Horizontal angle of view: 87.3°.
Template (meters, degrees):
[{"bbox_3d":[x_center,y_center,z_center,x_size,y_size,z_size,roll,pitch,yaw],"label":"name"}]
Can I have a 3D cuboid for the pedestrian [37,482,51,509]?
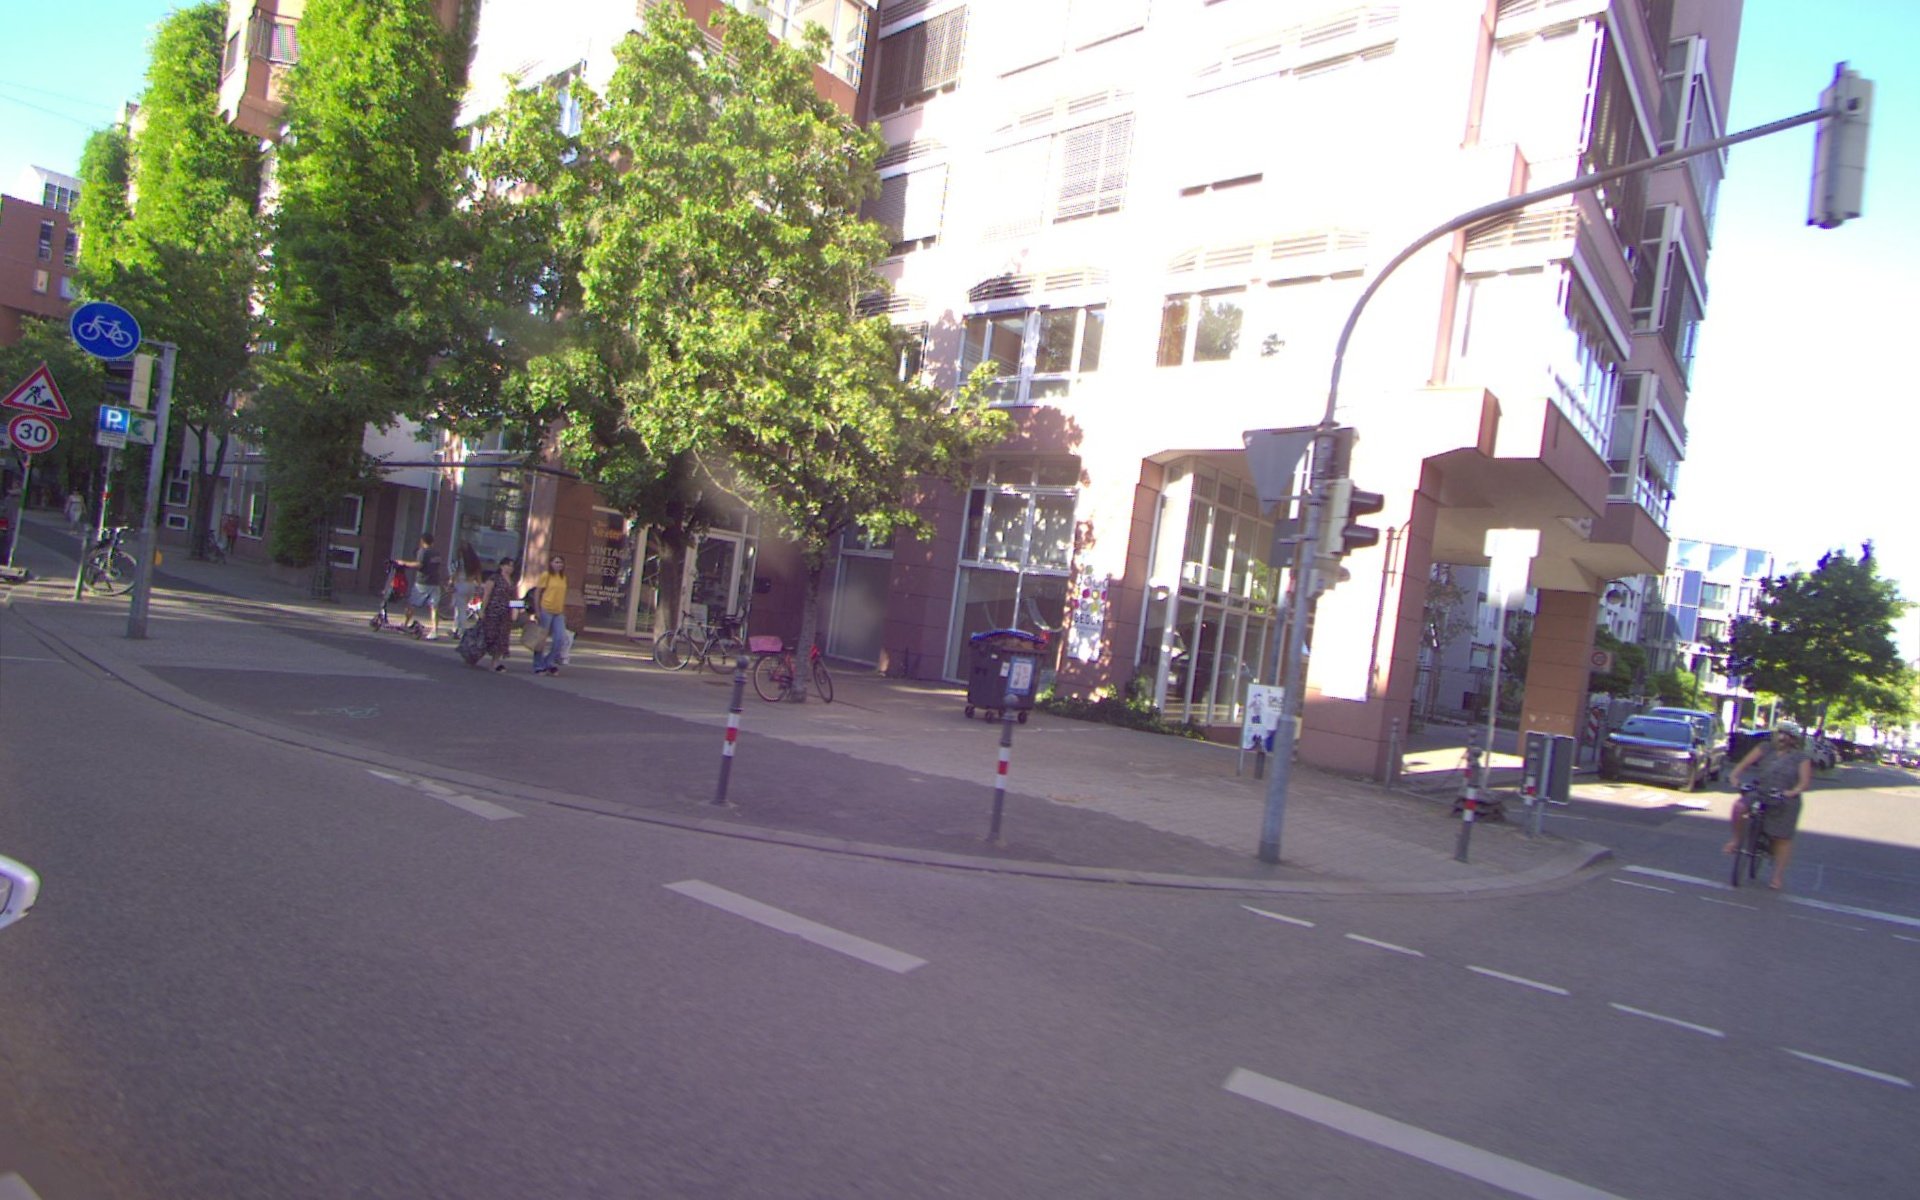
[{"bbox_3d":[-58.605,-6.672,64.351,0.369,1.647,0.449,8,1,36],"label":"pedestrian"}]

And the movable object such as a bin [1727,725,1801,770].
[{"bbox_3d":[34.029,6.248,42.583,1.720,1.517,2.133,8,-2,-42],"label":"movable object such as a bin"}]

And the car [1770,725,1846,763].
[{"bbox_3d":[62.127,10.522,73.776,3.938,2.038,1.994,8,0,37],"label":"car"}]

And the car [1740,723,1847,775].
[{"bbox_3d":[41.522,7.413,50.170,1.717,1.828,3.683,8,0,-37],"label":"car"}]

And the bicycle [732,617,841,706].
[{"bbox_3d":[-2.665,0.971,15.596,0.569,1.242,1.567,8,0,37],"label":"bicycle"}]

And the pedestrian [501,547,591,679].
[{"bbox_3d":[-5.910,0.193,14.373,0.755,1.754,0.700,8,0,35],"label":"pedestrian"}]

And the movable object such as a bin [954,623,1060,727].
[{"bbox_3d":[0.775,1.232,16.406,0.860,1.500,1.408,8,0,43],"label":"movable object such as a bin"}]

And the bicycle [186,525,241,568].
[{"bbox_3d":[-21.791,-1.558,29.354,1.883,1.033,0.618,8,0,34],"label":"bicycle"}]

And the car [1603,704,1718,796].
[{"bbox_3d":[16.912,3.556,24.207,1.775,1.742,4.182,8,-1,40],"label":"car"}]

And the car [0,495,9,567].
[{"bbox_3d":[-19.200,-1.483,18.737,4.249,1.318,1.619,8,0,40],"label":"car"}]

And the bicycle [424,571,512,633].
[{"bbox_3d":[-9.619,0.031,19.641,1.725,0.951,0.737,8,0,36],"label":"bicycle"}]

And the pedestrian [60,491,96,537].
[{"bbox_3d":[-31.217,-3.041,35.610,0.762,1.462,0.772,9,-1,-39],"label":"pedestrian"}]

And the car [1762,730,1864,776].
[{"bbox_3d":[44.959,8.047,53.076,1.717,1.712,3.683,8,0,-37],"label":"car"}]

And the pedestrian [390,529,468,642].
[{"bbox_3d":[-8.957,-0.233,16.986,0.598,1.784,0.788,8,1,21],"label":"pedestrian"}]

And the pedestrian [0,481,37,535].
[{"bbox_3d":[-31.346,-3.062,33.437,0.538,1.665,0.763,8,0,34],"label":"pedestrian"}]

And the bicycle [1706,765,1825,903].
[{"bbox_3d":[8.494,2.400,10.621,0.792,1.126,1.914,8,0,39],"label":"bicycle"}]

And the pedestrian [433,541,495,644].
[{"bbox_3d":[-8.614,-0.127,17.479,0.667,1.693,0.460,8,1,22],"label":"pedestrian"}]

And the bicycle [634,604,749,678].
[{"bbox_3d":[-4.776,0.732,17.893,1.734,1.065,0.733,8,0,-31],"label":"bicycle"}]

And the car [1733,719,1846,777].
[{"bbox_3d":[39.408,7.020,47.871,1.716,1.996,3.683,8,0,-37],"label":"car"}]

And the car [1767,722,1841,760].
[{"bbox_3d":[63.408,10.576,75.682,3.938,2.038,1.994,8,0,37],"label":"car"}]

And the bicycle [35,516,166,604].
[{"bbox_3d":[-13.097,-0.608,15.330,1.720,1.066,0.739,8,0,23],"label":"bicycle"}]

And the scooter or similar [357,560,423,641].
[{"bbox_3d":[-9.358,-0.003,16.499,1.231,1.172,0.394,8,1,38],"label":"scooter or similar"}]

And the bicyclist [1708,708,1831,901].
[{"bbox_3d":[8.396,2.077,10.448,0.777,1.792,0.824,8,0,40],"label":"bicyclist"}]

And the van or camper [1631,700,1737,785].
[{"bbox_3d":[21.009,4.101,29.105,1.777,1.996,4.554,8,-1,43],"label":"van or camper"}]

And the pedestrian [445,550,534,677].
[{"bbox_3d":[-6.383,0.183,13.657,0.736,1.597,0.644,8,0,35],"label":"pedestrian"}]

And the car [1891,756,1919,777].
[{"bbox_3d":[88.715,15.619,94.296,1.974,1.563,3.981,7,-2,44],"label":"car"}]
